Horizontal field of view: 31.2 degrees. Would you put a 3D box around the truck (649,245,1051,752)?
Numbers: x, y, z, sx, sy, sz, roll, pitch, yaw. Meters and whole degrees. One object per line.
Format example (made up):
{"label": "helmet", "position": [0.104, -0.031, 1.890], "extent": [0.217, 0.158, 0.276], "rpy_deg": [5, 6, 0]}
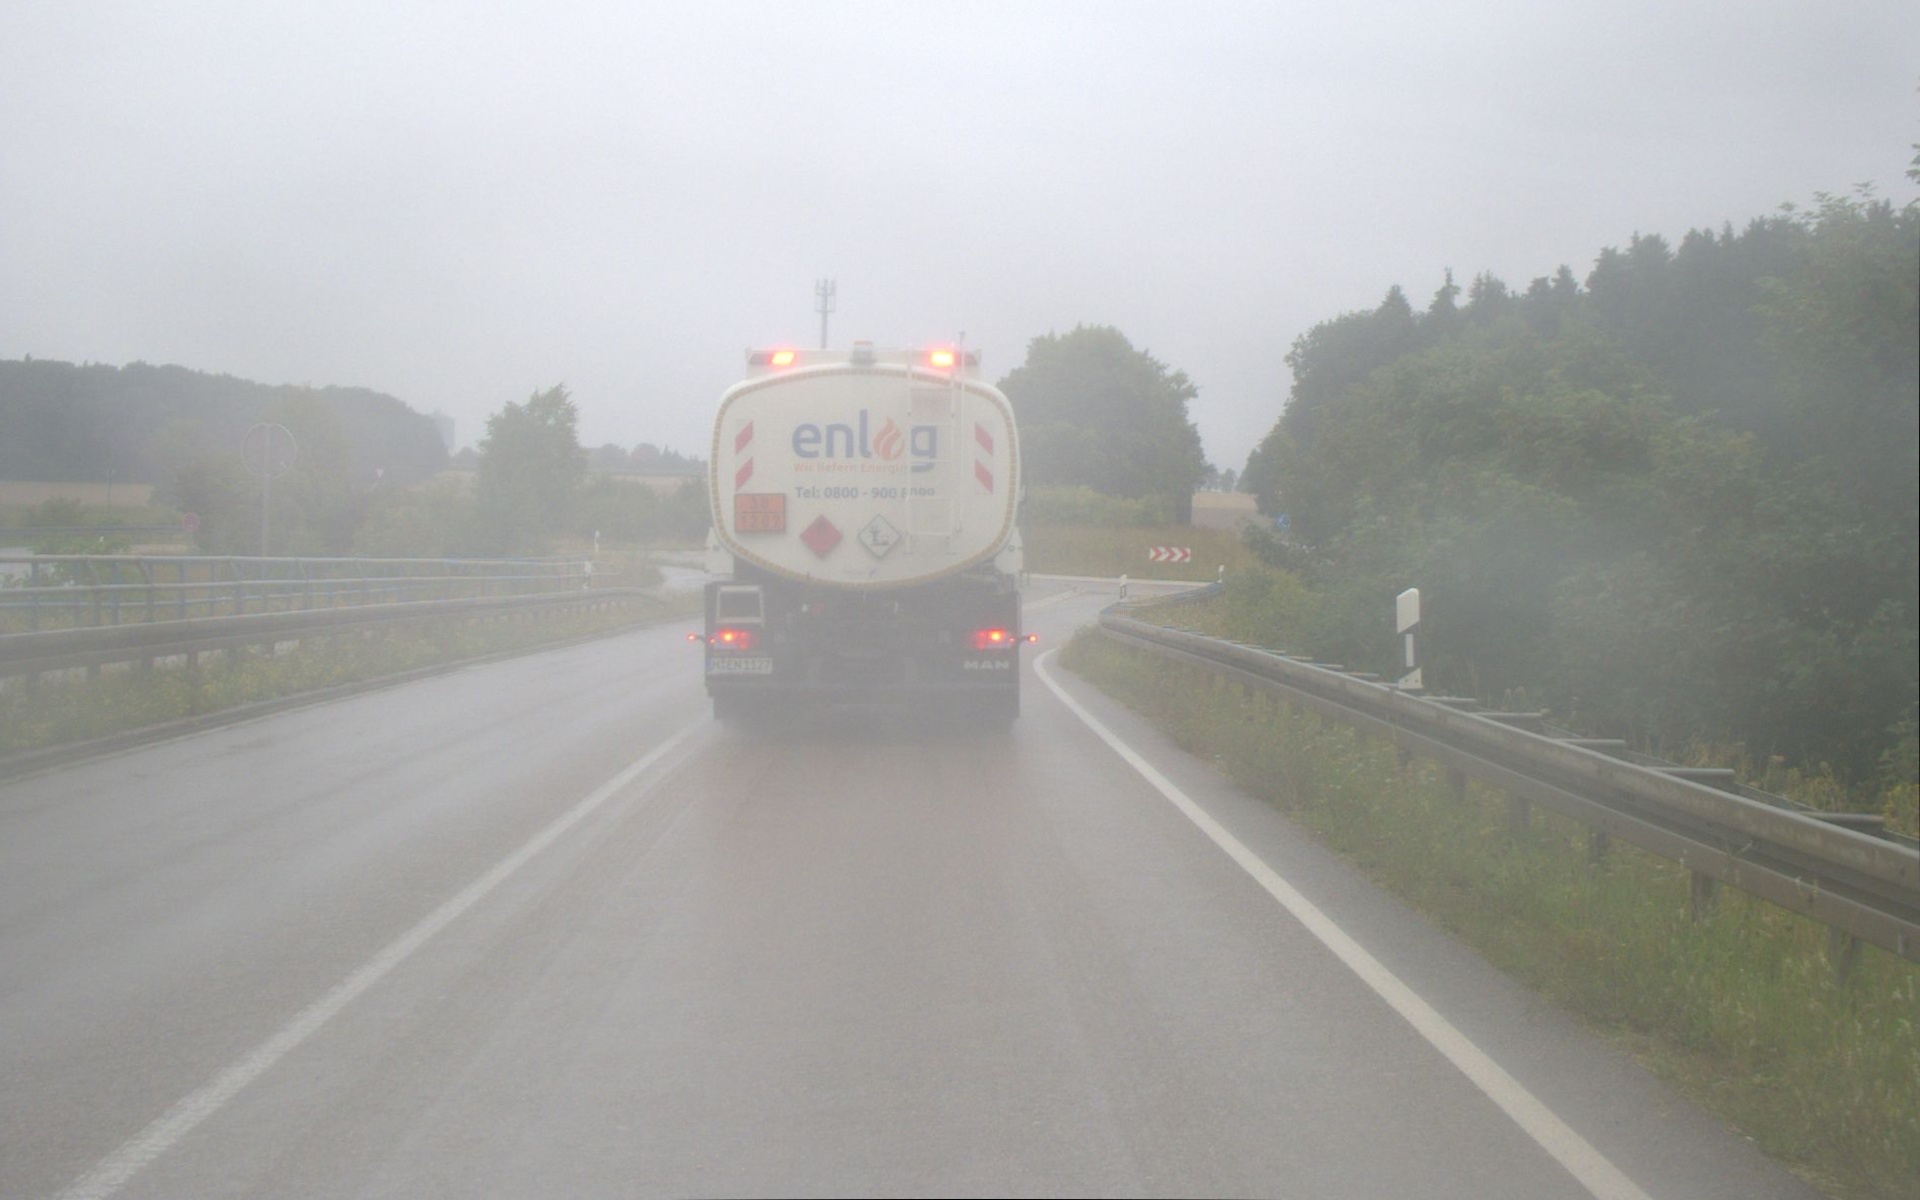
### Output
{"label": "truck", "position": [-0.817, -0.863, 30.613], "extent": [3.039, 3.838, 8.823], "rpy_deg": [0, 1, 0]}
